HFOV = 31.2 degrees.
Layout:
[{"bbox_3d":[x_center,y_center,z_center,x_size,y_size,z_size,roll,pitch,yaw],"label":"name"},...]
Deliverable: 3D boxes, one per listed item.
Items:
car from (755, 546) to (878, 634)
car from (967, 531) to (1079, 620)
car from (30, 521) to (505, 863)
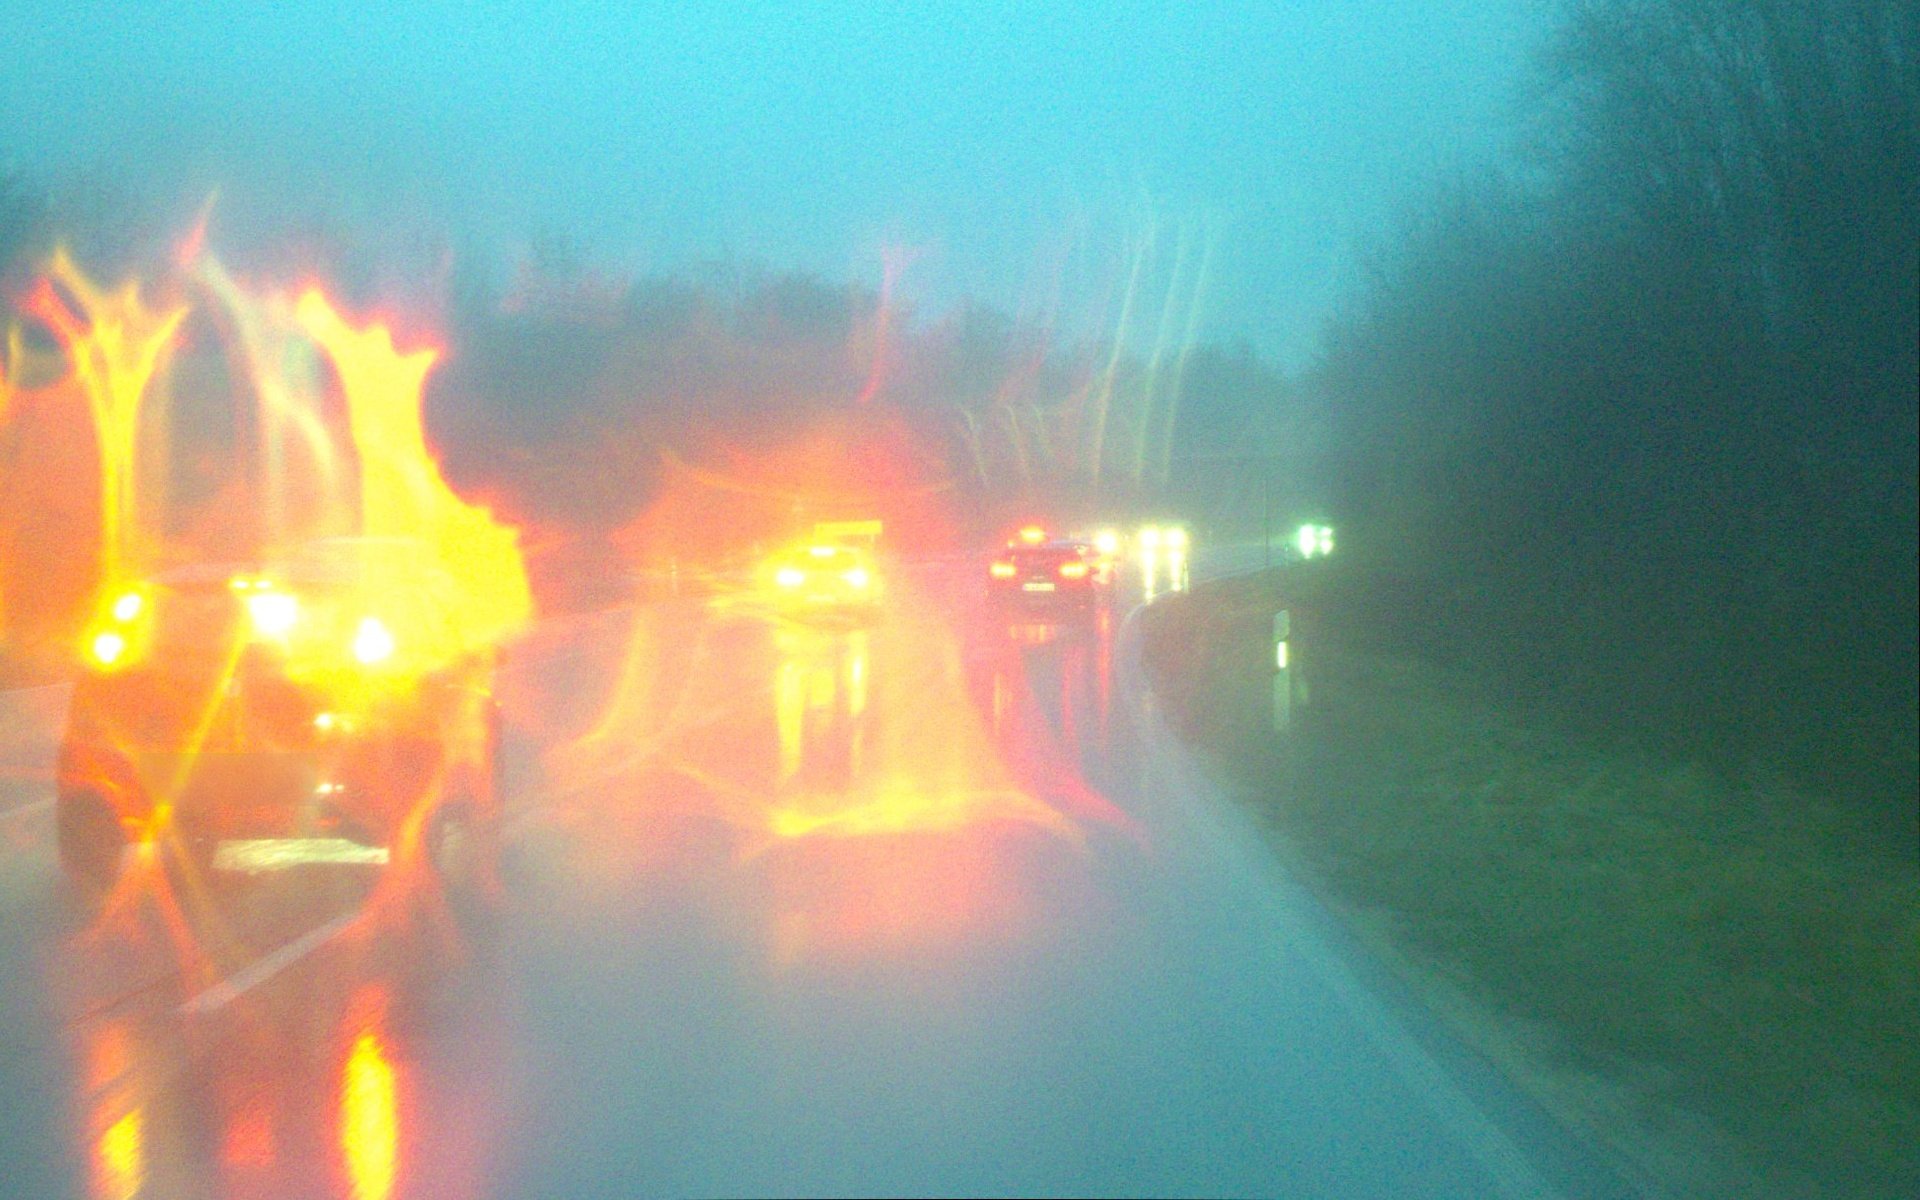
[{"bbox_3d":[-2.683,-0.216,65.386,2.005,1.550,4.517,1,1,2],"label":"car"},{"bbox_3d":[1.080,-0.441,57.198,1.679,1.385,4.098,0,2,3],"label":"car"},{"bbox_3d":[-3.243,0.357,16.826,1.632,1.416,4.172,2,1,-3],"label":"car"}]
